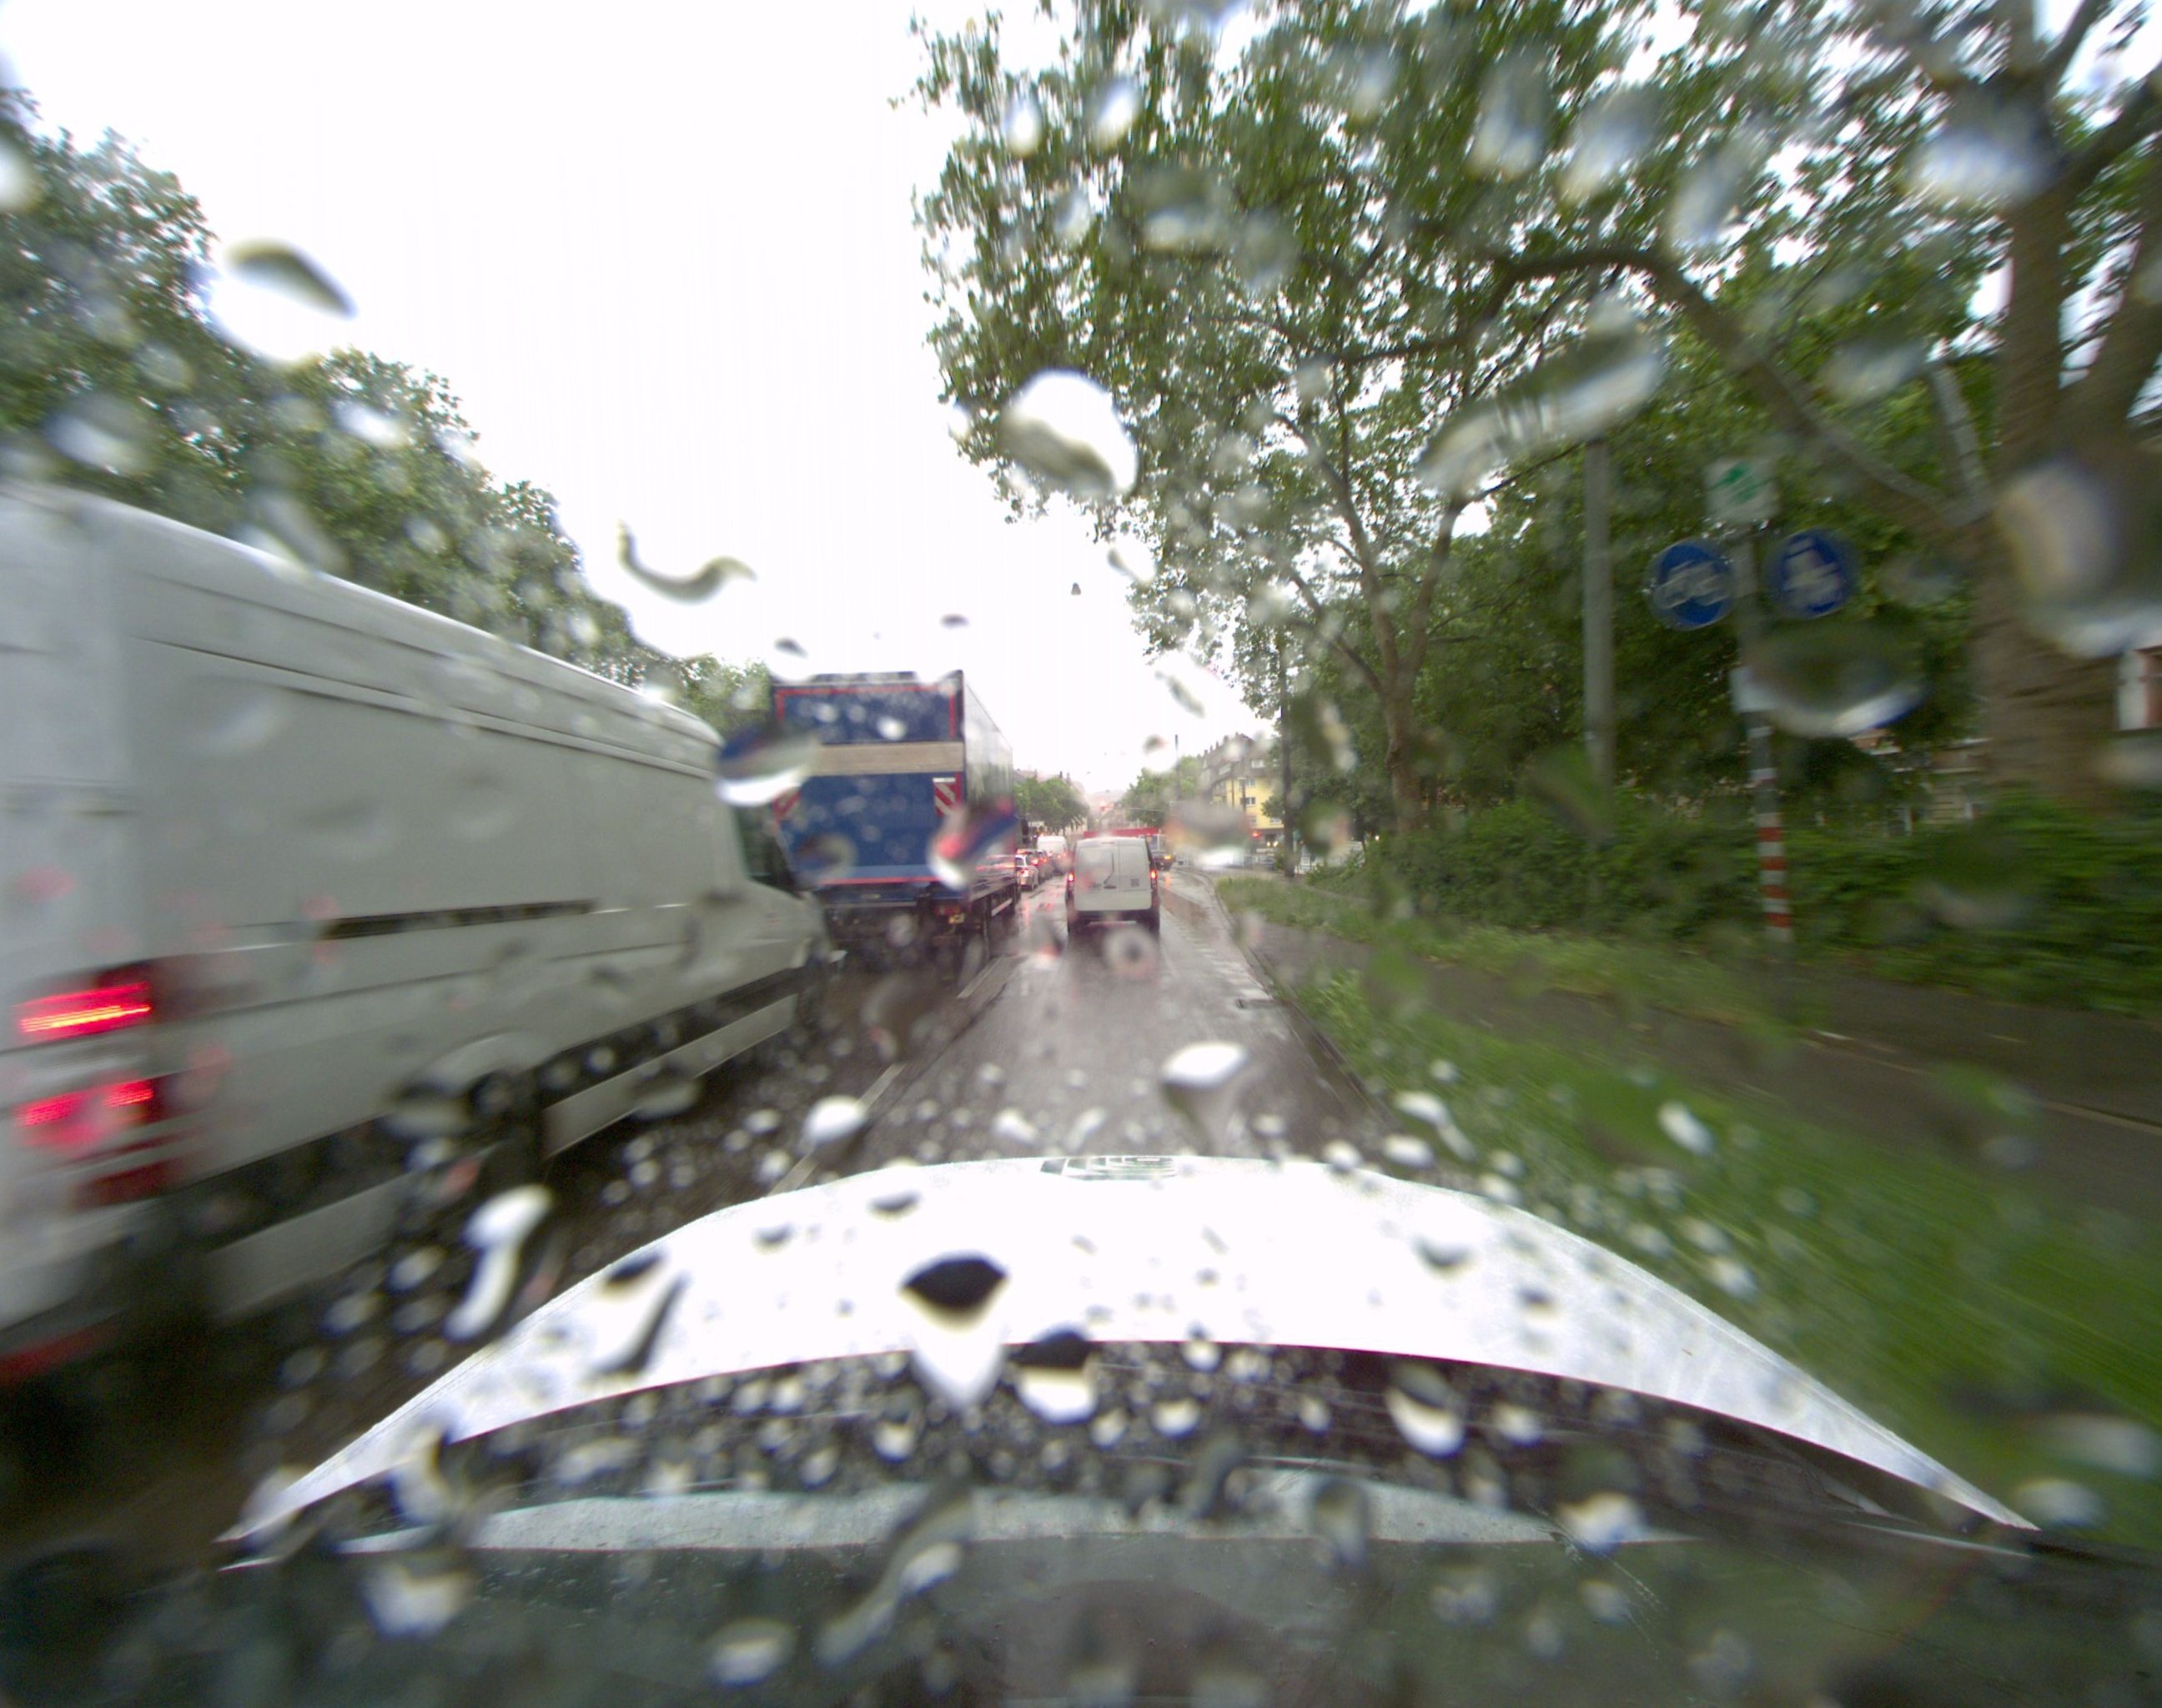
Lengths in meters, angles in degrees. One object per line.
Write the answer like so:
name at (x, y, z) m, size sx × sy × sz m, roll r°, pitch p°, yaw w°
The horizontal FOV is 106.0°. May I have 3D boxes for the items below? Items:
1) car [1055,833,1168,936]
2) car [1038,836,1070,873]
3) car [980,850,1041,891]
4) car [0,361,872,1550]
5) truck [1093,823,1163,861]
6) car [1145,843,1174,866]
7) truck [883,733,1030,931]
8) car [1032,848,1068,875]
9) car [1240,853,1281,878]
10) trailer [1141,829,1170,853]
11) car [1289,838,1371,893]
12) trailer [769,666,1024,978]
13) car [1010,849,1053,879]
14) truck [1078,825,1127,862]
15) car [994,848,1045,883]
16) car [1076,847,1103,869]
car at (0.577, 0.562, 16.231) m, size 1.952 × 1.777 × 3.570 m, roll -1°, pitch -1°, yaw 1°
car at (-1.854, 0.017, 56.830) m, size 1.986 × 2.442 × 4.613 m, roll 0°, pitch 0°, yaw 1°
car at (-2.769, 0.608, 32.771) m, size 1.986 × 1.472 × 4.267 m, roll 0°, pitch 1°, yaw 1°
car at (-3.287, 0.264, 4.823) m, size 2.321 × 2.557 × 6.116 m, roll -1°, pitch -1°, yaw 1°
truck at (6.324, -1.585, 113.083) m, size 3.303 × 4.899 × 11.278 m, roll -4°, pitch 1°, yaw -34°
car at (5.654, 0.003, 58.572) m, size 1.984 × 1.542 × 4.006 m, roll -2°, pitch 0°, yaw 5°
truck at (-2.607, -0.457, 18.256) m, size 2.572 × 3.904 × 4.000 m, roll -1°, pitch 0°, yaw 0°
car at (-1.908, 0.457, 51.307) m, size 1.986 × 1.578 × 4.293 m, roll 0°, pitch 0°, yaw 1°
car at (12.324, 0.790, 56.142) m, size 1.817 × 1.490 × 4.352 m, roll -3°, pitch 1°, yaw 0°
trailer at (7.780, -1.317, 84.833) m, size 1.977 × 2.317 × 4.690 m, roll -2°, pitch -1°, yaw 18°
car at (12.592, 0.508, 41.684) m, size 2.174 × 2.532 × 5.774 m, roll -3°, pitch 1°, yaw -2°
trailer at (-2.613, -0.433, 14.164) m, size 2.582 × 3.899 × 7.635 m, roll -1°, pitch 0°, yaw 0°
car at (-2.659, 0.513, 44.580) m, size 1.986 × 1.578 × 4.293 m, roll 0°, pitch 0°, yaw 1°
truck at (3.095, -1.478, 117.944) m, size 3.303 × 4.899 × 7.104 m, roll -4°, pitch 1°, yaw -34°
car at (-2.855, 0.524, 38.789) m, size 1.986 × 1.578 × 4.293 m, roll 0°, pitch 0°, yaw 1°
car at (0.642, 0.281, 58.604) m, size 1.752 × 1.469 × 3.537 m, roll -1°, pitch 0°, yaw 4°
